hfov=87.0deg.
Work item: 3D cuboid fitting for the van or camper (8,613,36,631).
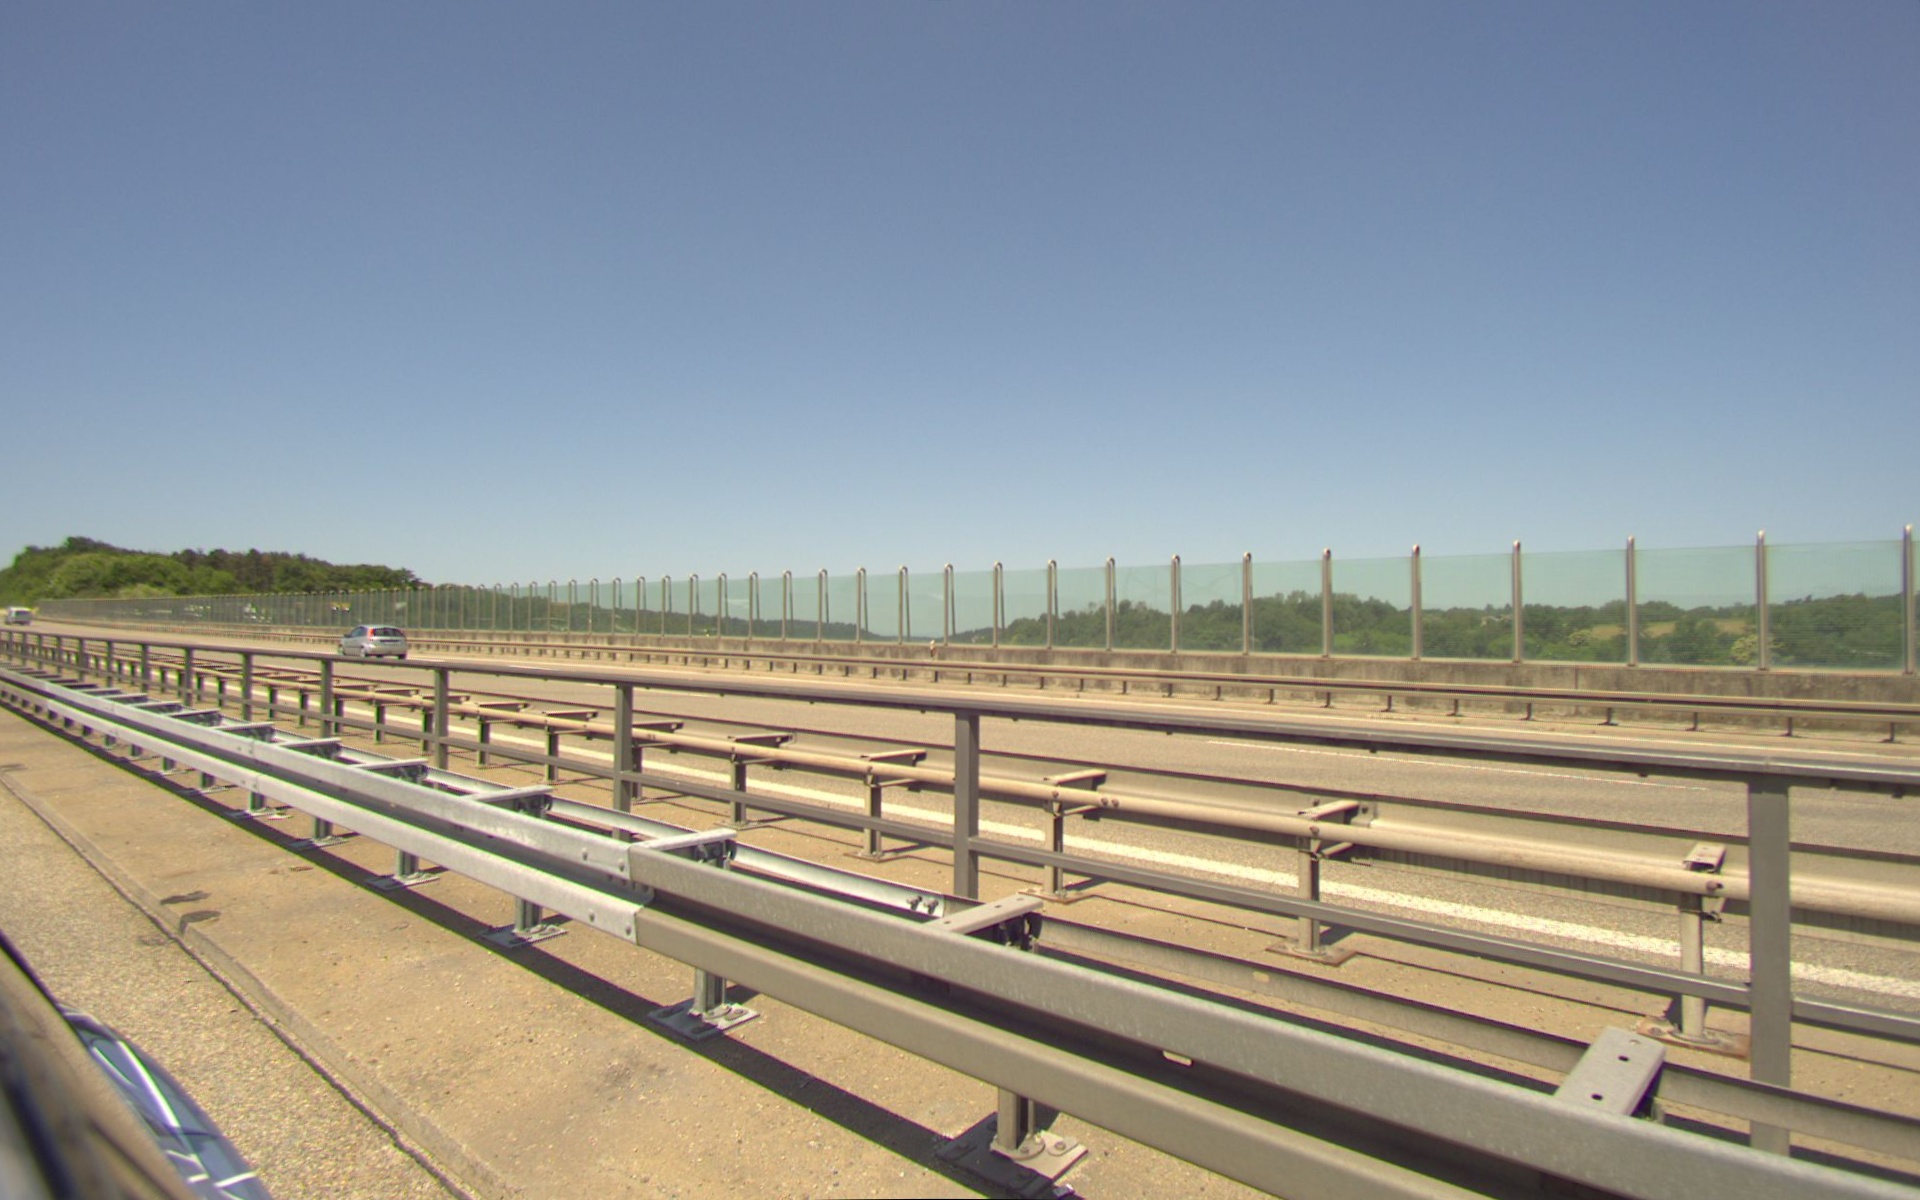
[{"bbox_3d":[-120.837,2.825,130.380,5.533,2.228,1.973,0,-3,41],"label":"van or camper"}]

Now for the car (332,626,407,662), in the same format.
[{"bbox_3d":[-24.683,1.820,42.247,3.675,1.405,1.588,0,-3,41],"label":"car"}]
